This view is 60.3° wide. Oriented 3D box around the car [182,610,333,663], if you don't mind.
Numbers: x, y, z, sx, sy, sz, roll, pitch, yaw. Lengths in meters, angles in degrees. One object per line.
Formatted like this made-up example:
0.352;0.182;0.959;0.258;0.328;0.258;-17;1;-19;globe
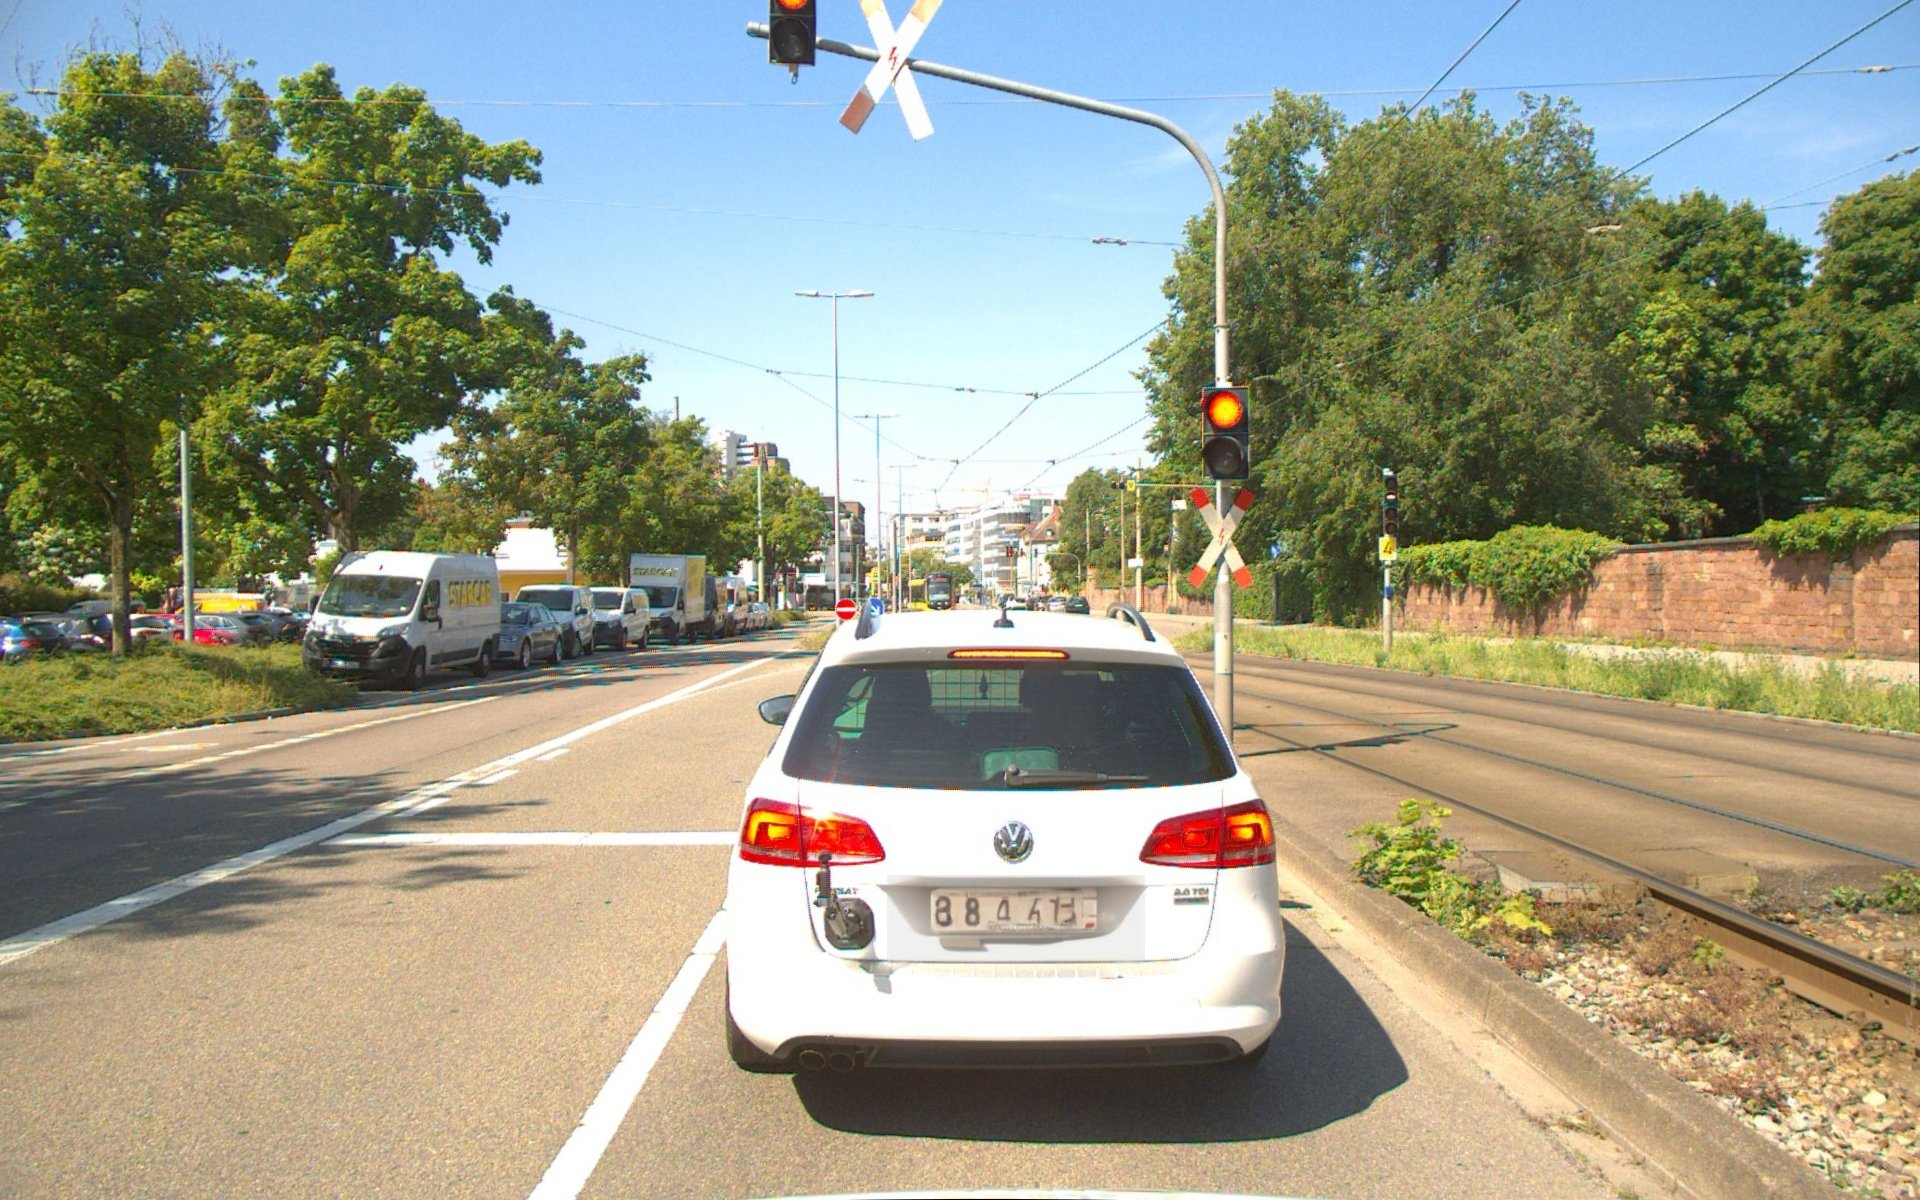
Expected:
-21.709;1.127;51.216;3.909;1.440;1.728;-2;0;-5;car

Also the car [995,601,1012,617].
5.328;1.062;204.272;1.826;1.900;5.060;1;0;-2;car

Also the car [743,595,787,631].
-10.762;0.687;91.504;1.826;1.900;5.412;1;0;-1;car

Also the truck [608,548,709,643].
-10.854;-0.166;60.146;2.371;3.205;6.996;1;0;0;truck

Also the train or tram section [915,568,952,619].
-2.139;-0.563;134.573;2.812;3.923;12.389;-1;0;-1;train or tram section

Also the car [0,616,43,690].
-20.733;1.121;32.920;3.909;1.440;1.728;-2;0;-5;car

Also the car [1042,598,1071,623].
7.525;0.798;129.716;1.826;1.900;5.060;1;0;-2;car

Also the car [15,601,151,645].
-37.813;0.982;71.372;4.698;1.819;2.062;1;0;-5;car

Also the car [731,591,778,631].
-10.490;0.532;84.694;1.826;1.900;5.412;1;0;-1;car

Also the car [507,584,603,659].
-10.978;0.529;45.136;1.828;1.900;5.068;1;0;-6;car

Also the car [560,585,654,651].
-10.966;0.526;51.720;1.826;1.900;5.412;1;0;-1;car

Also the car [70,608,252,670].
-21.086;1.022;43.781;3.909;1.440;1.728;-2;0;-5;car

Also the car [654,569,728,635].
-11.010;0.061;68.143;2.079;2.560;5.733;1;0;0;car

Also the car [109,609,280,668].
-21.288;1.056;46.107;3.909;1.440;1.728;-2;0;-5;car

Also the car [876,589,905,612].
-4.687;0.030;112.294;1.670;1.499;4.589;-1;0;0;car

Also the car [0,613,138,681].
-21.617;1.114;38.630;3.909;1.440;1.728;-2;0;-5;car

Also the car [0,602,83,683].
-21.077;0.961;35.114;3.909;1.638;1.728;-2;0;-5;car

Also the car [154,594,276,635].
-34.369;0.666;76.400;4.698;1.819;2.062;1;0;-5;car

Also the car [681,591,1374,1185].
0.146;0.715;6.190;1.726;1.455;3.999;-1;0;-1;car

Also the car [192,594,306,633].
-34.898;0.677;81.295;4.698;1.819;2.062;1;0;-5;car

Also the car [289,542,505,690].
-10.746;0.273;32.125;2.079;2.560;5.817;1;0;1;car

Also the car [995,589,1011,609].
6.235;-0.165;238.850;2.015;2.807;5.630;1;0;-2;car

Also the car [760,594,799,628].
-10.707;0.616;98.421;1.826;1.900;5.412;1;0;-1;car

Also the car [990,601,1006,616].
4.944;1.090;217.955;1.826;1.900;5.060;1;0;-2;car

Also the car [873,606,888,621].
-10.369;1.758;216.551;1.726;1.929;4.913;1;0;-1;car

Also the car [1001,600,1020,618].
5.666;1.007;186.101;1.826;1.900;5.060;1;0;-2;car

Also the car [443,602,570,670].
-10.502;0.800;38.571;1.826;1.440;4.278;1;0;-1;car

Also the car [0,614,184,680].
-21.731;1.166;41.213;3.909;1.440;1.728;-2;0;-5;car

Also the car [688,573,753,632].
-10.898;0.097;75.580;2.079;2.560;5.733;1;0;0;car

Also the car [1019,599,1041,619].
6.856;0.883;162.692;1.826;1.900;5.060;1;0;-2;car

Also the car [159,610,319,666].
-21.277;1.100;48.925;3.909;1.440;1.728;-2;0;-5;car

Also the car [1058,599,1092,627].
8.099;0.891;116.723;1.826;1.900;5.060;1;0;-2;car

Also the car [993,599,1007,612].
6.143;0.793;255.966;1.826;1.900;5.060;1;0;-2;car

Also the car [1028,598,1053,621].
7.084;0.846;146.164;1.826;1.900;5.060;1;0;-2;car
